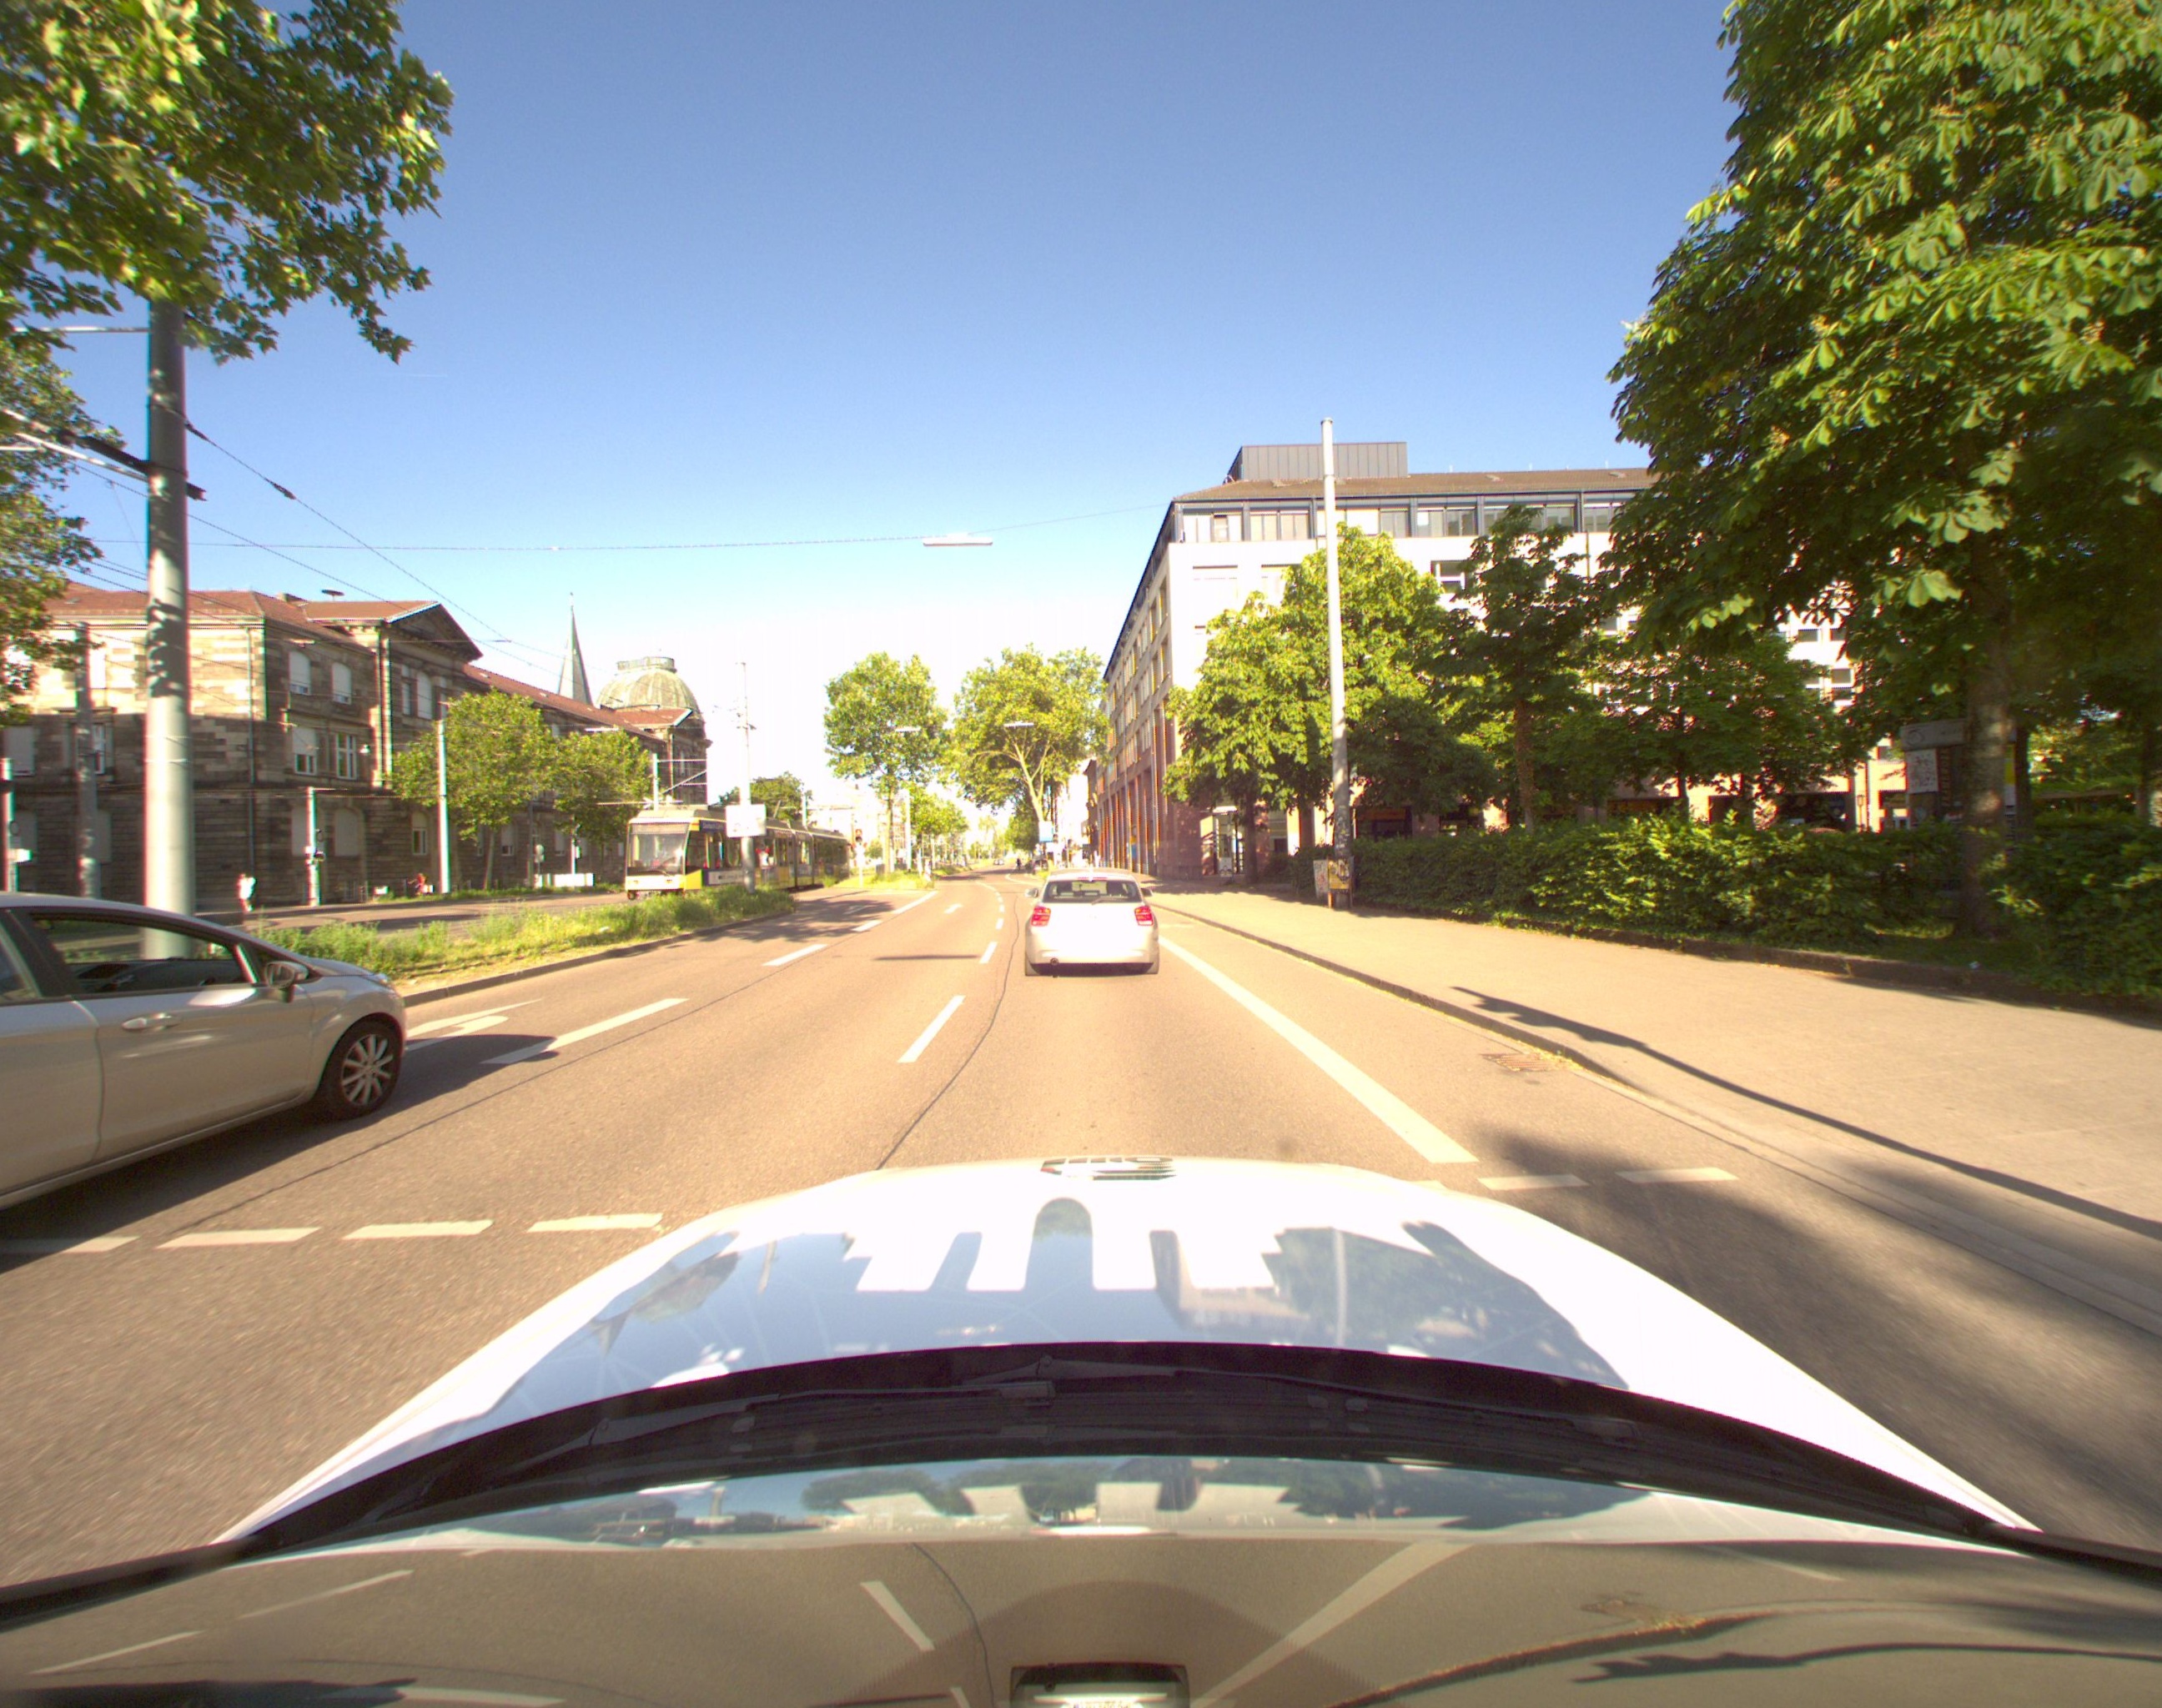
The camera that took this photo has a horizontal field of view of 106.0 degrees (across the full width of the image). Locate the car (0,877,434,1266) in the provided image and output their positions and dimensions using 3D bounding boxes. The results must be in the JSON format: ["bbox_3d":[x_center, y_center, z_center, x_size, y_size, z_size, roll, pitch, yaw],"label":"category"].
[{"bbox_3d":[-4.926,0.850,3.512,1.659,1.409,3.623,-1,-1,-7],"label":"car"}]

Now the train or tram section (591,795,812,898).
[{"bbox_3d":[-14.569,-0.077,33.623,2.909,3.260,15.864,0,-1,-5],"label":"train or tram section"}]

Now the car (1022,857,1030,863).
[{"bbox_3d":[-16.702,1.804,247.122,1.986,2.014,4.000,0,-1,1],"label":"car"}]

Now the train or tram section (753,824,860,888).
[{"bbox_3d":[-15.740,0.226,48.040,2.909,3.260,13.089,0,-1,-5],"label":"train or tram section"}]

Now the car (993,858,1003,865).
[{"bbox_3d":[-21.174,1.927,207.317,1.985,1.486,4.003,-2,0,2],"label":"car"}]

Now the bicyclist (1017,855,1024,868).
[{"bbox_3d":[-8.075,0.984,108.724,0.655,1.657,0.766,-3,0,6],"label":"bicyclist"}]

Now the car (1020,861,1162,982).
[{"bbox_3d":[0.246,0.847,11.940,1.722,1.390,3.844,-1,1,4],"label":"car"}]

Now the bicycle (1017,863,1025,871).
[{"bbox_3d":[-8.012,1.760,108.845,0.827,1.041,1.877,-3,0,5],"label":"bicycle"}]
